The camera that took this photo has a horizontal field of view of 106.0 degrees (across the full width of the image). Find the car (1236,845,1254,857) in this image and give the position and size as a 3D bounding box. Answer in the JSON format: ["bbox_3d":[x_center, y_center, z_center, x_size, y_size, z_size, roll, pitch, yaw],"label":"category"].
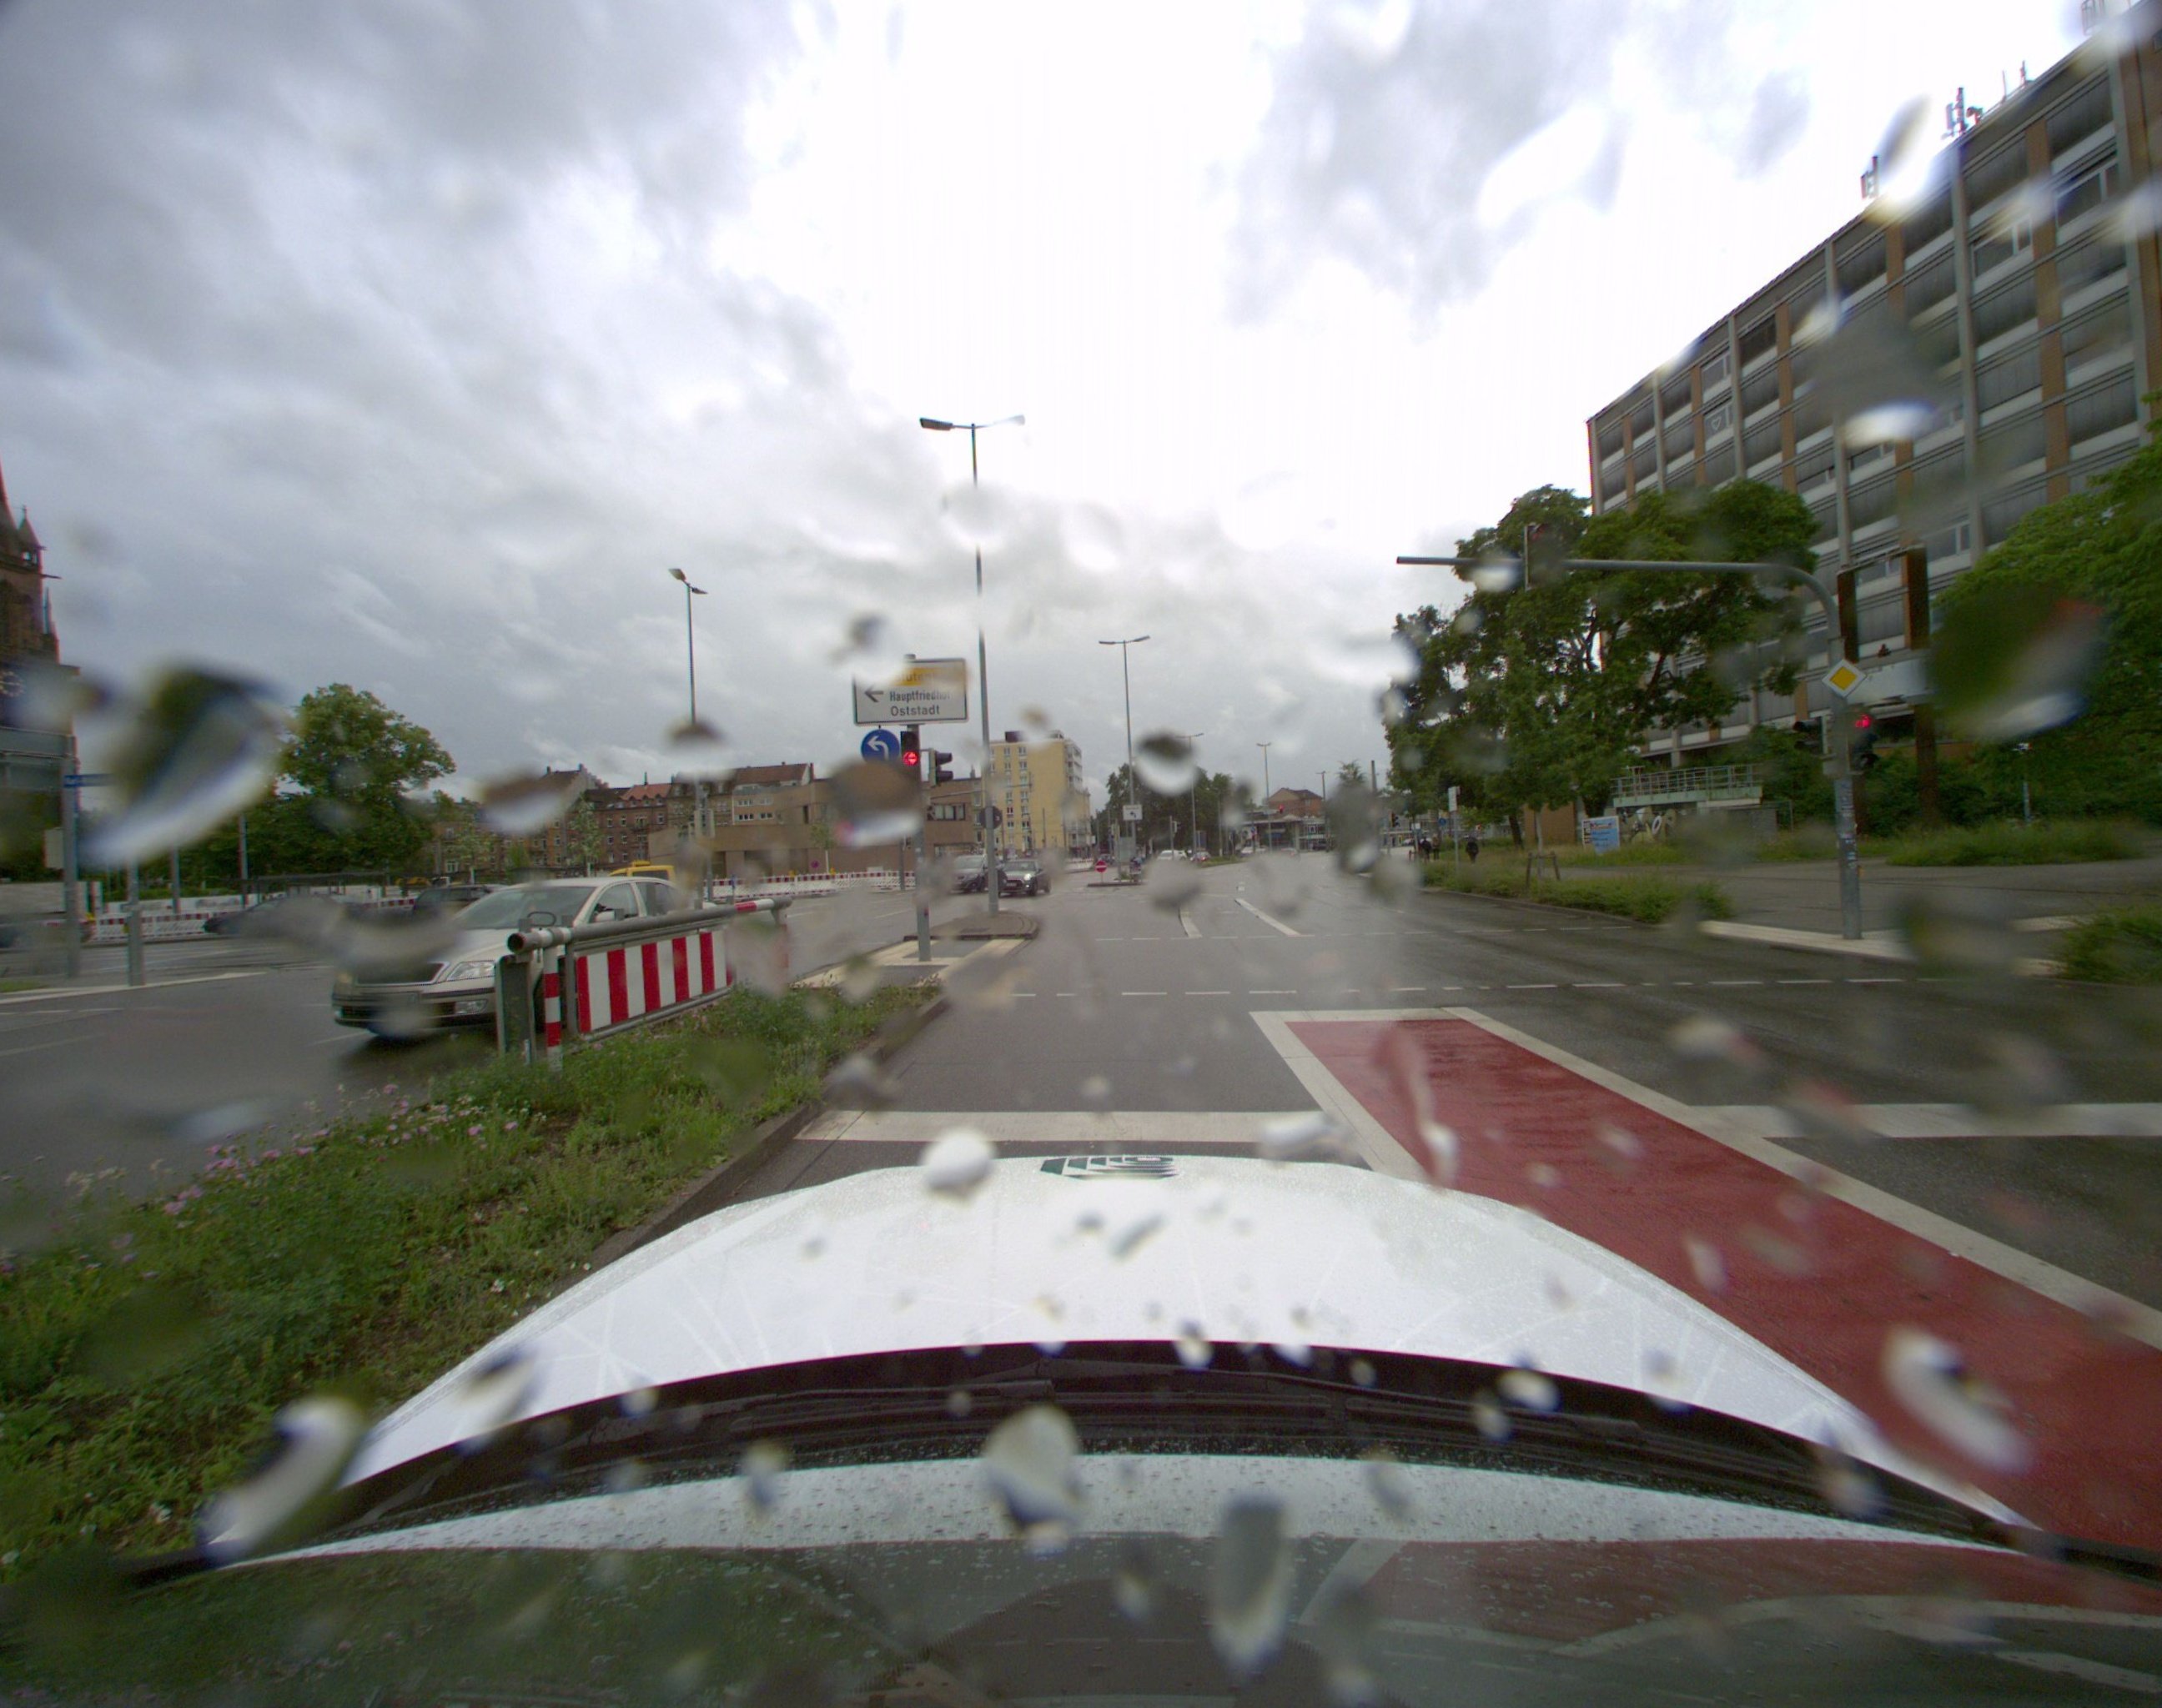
[{"bbox_3d":[24.890,-0.458,123.423,1.774,1.643,4.183,-3,0,23],"label":"car"}]

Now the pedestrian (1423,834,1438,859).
[{"bbox_3d":[23.154,-0.509,53.956,0.698,1.588,0.939,-3,0,12],"label":"pedestrian"}]

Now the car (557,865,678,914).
[{"bbox_3d":[-19.012,1.428,33.569,4.164,1.706,1.695,-3,0,-29],"label":"car"}]

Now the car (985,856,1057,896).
[{"bbox_3d":[-2.369,0.847,33.113,1.760,1.376,4.134,-3,0,12],"label":"car"}]

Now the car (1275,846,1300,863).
[{"bbox_3d":[21.949,0.089,86.496,1.774,1.643,4.183,-3,0,23],"label":"car"}]

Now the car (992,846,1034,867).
[{"bbox_3d":[-11.806,0.443,141.992,6.711,3.380,2.813,-3,0,4],"label":"car"}]

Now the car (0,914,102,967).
[{"bbox_3d":[-39.850,3.273,30.548,3.803,1.706,1.707,-3,0,-6],"label":"car"}]

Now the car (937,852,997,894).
[{"bbox_3d":[-5.106,0.811,37.105,1.765,1.678,4.772,-3,0,3],"label":"car"}]

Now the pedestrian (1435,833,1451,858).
[{"bbox_3d":[23.906,-0.548,53.831,0.698,1.588,0.939,-3,0,12],"label":"pedestrian"}]

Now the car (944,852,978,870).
[{"bbox_3d":[-21.096,1.217,142.845,5.326,2.887,2.342,-3,0,4],"label":"car"}]

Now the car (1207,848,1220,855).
[{"bbox_3d":[30.913,-0.609,190.360,1.773,1.643,4.184,-3,0,25],"label":"car"}]

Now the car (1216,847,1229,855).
[{"bbox_3d":[32.964,-0.711,189.477,1.773,1.643,4.184,-3,0,25],"label":"car"}]

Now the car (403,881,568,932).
[{"bbox_3d":[-19.981,1.744,27.449,4.185,1.402,1.615,-3,0,-5],"label":"car"}]

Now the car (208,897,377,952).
[{"bbox_3d":[-30.563,2.710,31.702,4.448,1.706,1.704,-3,0,-11],"label":"car"}]

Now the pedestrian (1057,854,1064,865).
[{"bbox_3d":[-3.630,0.992,145.015,1.089,1.813,1.117,-3,0,-2],"label":"pedestrian"}]

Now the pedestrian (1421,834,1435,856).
[{"bbox_3d":[25.466,-0.672,59.769,0.698,1.588,0.939,-3,0,12],"label":"pedestrian"}]

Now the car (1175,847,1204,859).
[{"bbox_3d":[17.779,-0.178,133.225,4.404,1.643,1.781,-3,0,-25],"label":"car"}]

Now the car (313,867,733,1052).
[{"bbox_3d":[-5.648,0.931,9.031,1.688,1.415,4.183,-3,0,0],"label":"car"}]

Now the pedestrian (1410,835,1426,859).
[{"bbox_3d":[22.494,-0.473,54.418,0.749,1.588,0.939,-3,0,12],"label":"pedestrian"}]

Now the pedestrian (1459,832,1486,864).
[{"bbox_3d":[20.128,-0.302,41.906,1.015,1.588,0.939,-3,0,12],"label":"pedestrian"}]

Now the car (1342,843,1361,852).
[{"bbox_3d":[53.811,-1.307,161.763,4.184,1.643,1.773,-3,0,-44],"label":"car"}]

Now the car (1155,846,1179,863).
[{"bbox_3d":[9.815,0.045,92.780,1.776,1.858,4.178,-3,0,17],"label":"car"}]

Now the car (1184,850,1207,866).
[{"bbox_3d":[12.957,0.430,91.902,1.775,1.643,4.066,-3,0,18],"label":"car"}]
